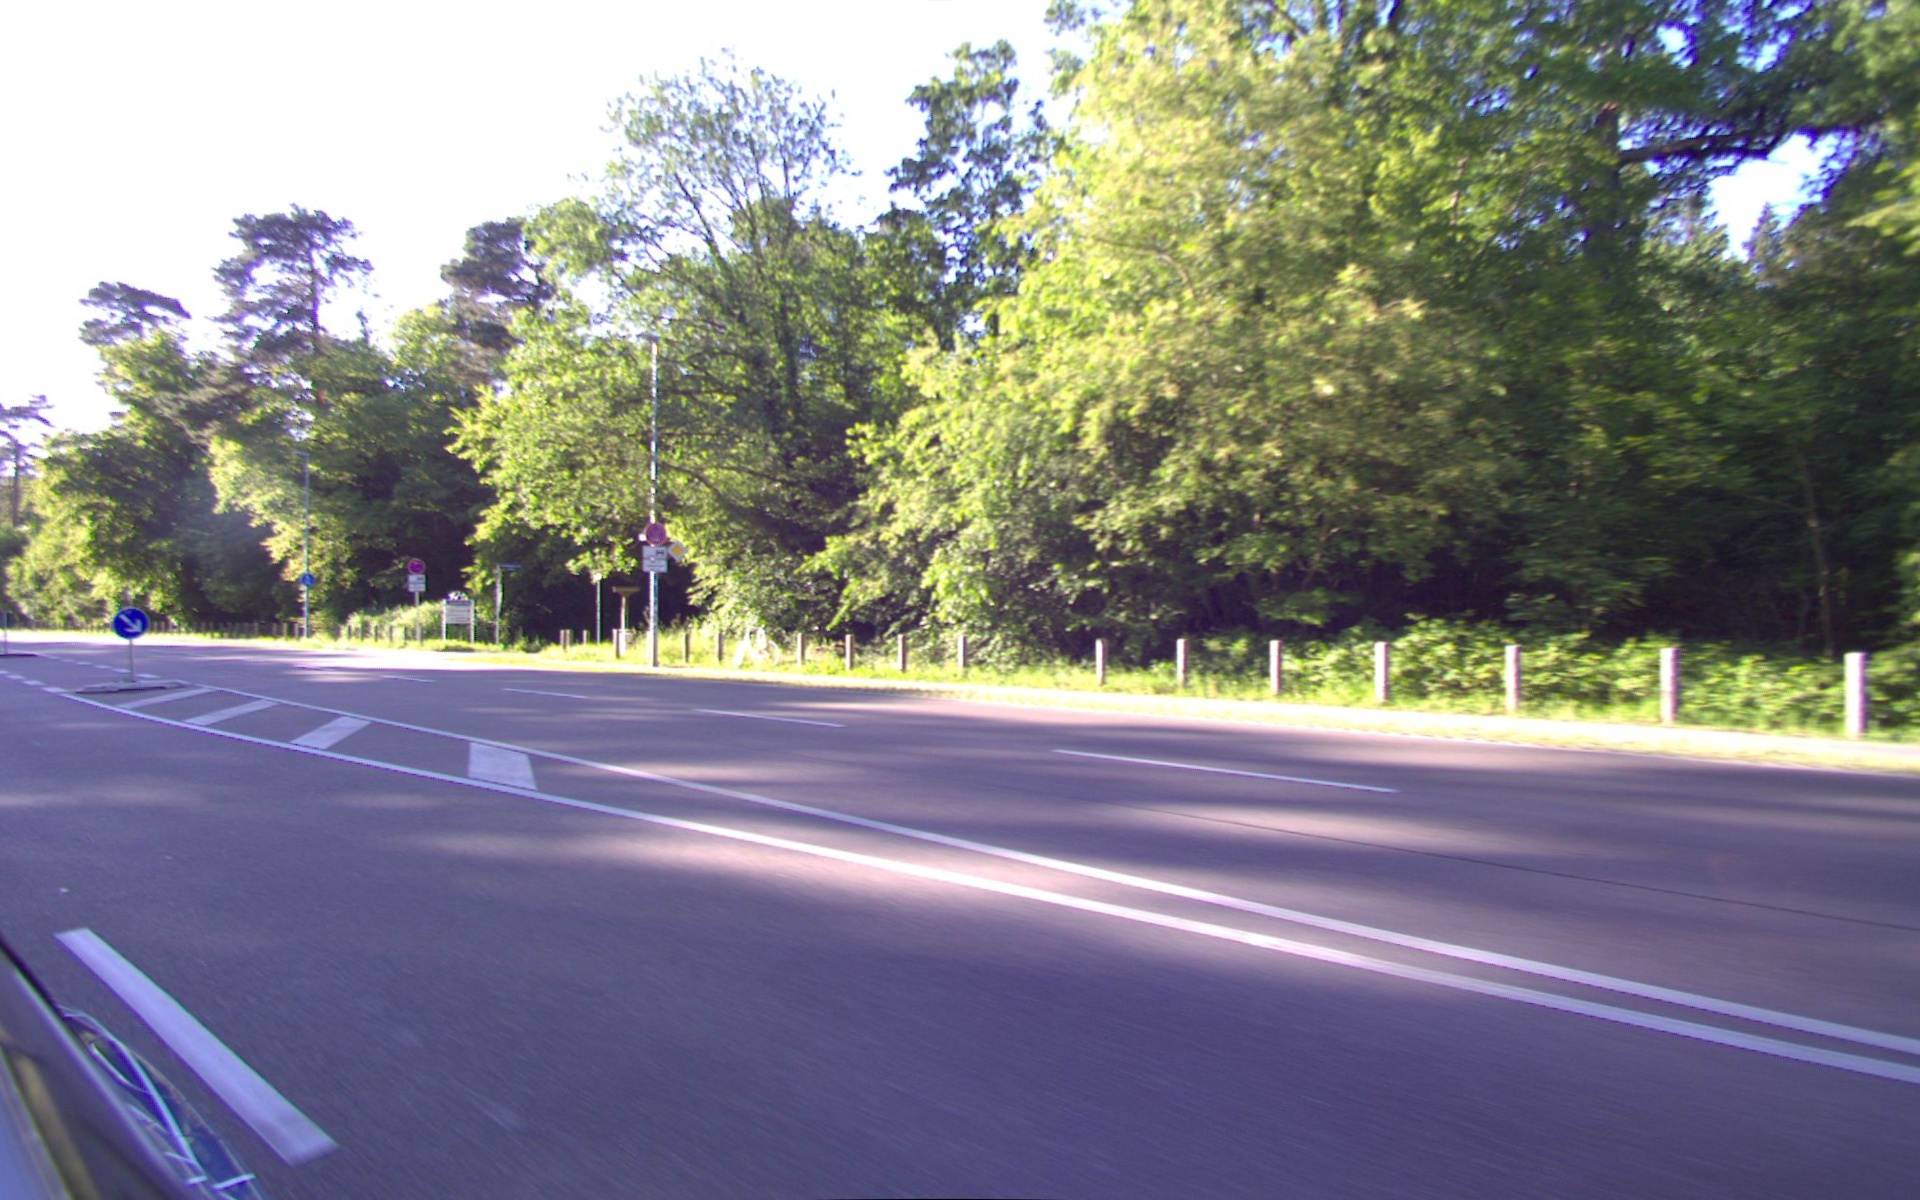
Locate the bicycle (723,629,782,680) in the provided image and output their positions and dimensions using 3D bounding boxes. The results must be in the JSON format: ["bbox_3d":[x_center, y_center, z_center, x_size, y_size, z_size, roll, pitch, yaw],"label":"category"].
[{"bbox_3d":[-5.014,1.283,24.342,0.396,1.140,2.224,-2,1,-39],"label":"bicycle"}]
